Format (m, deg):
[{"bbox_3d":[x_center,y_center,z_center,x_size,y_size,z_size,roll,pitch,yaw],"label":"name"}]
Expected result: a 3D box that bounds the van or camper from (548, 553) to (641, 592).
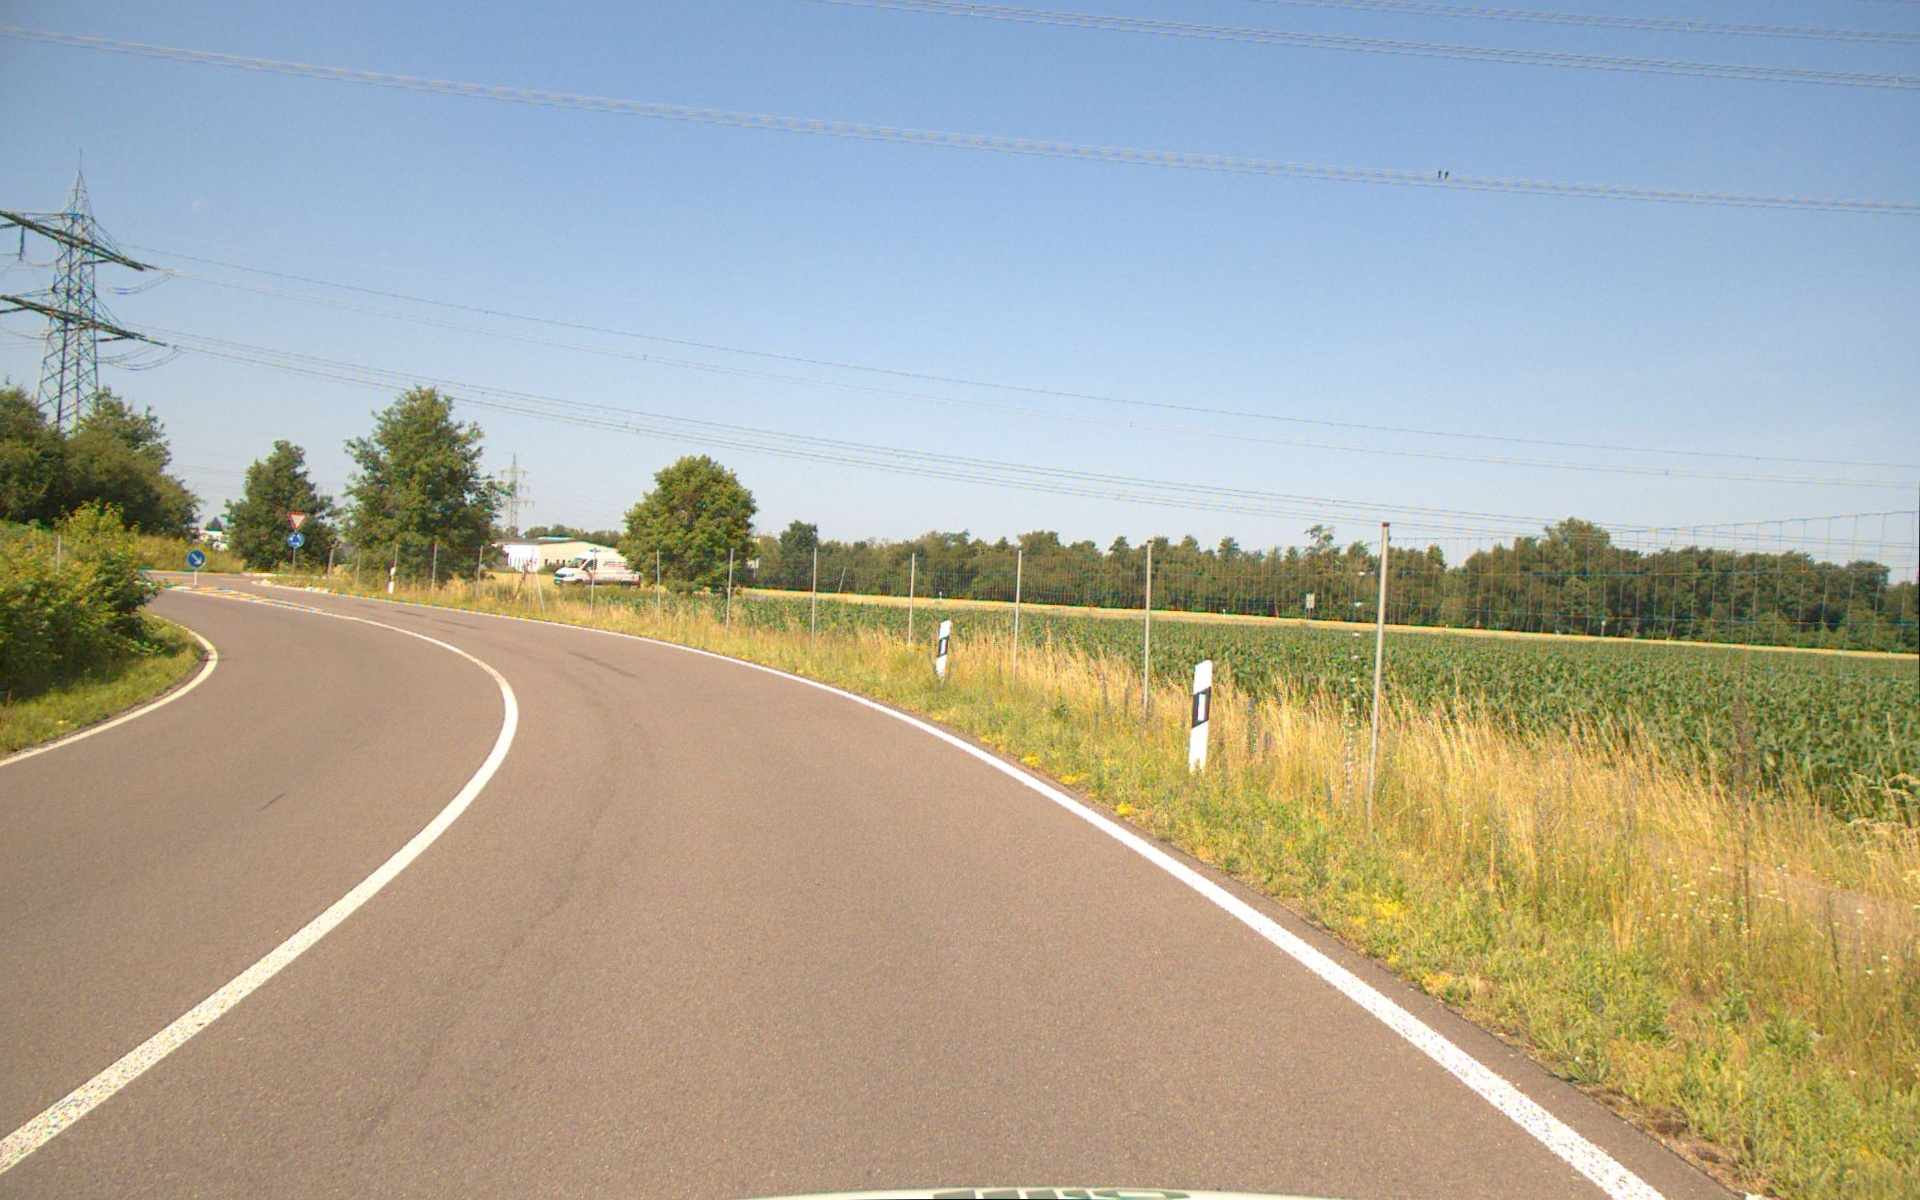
[{"bbox_3d":[-24.059,-1.808,109.132,5.719,2.306,1.970,3,0,-42],"label":"van or camper"}]
